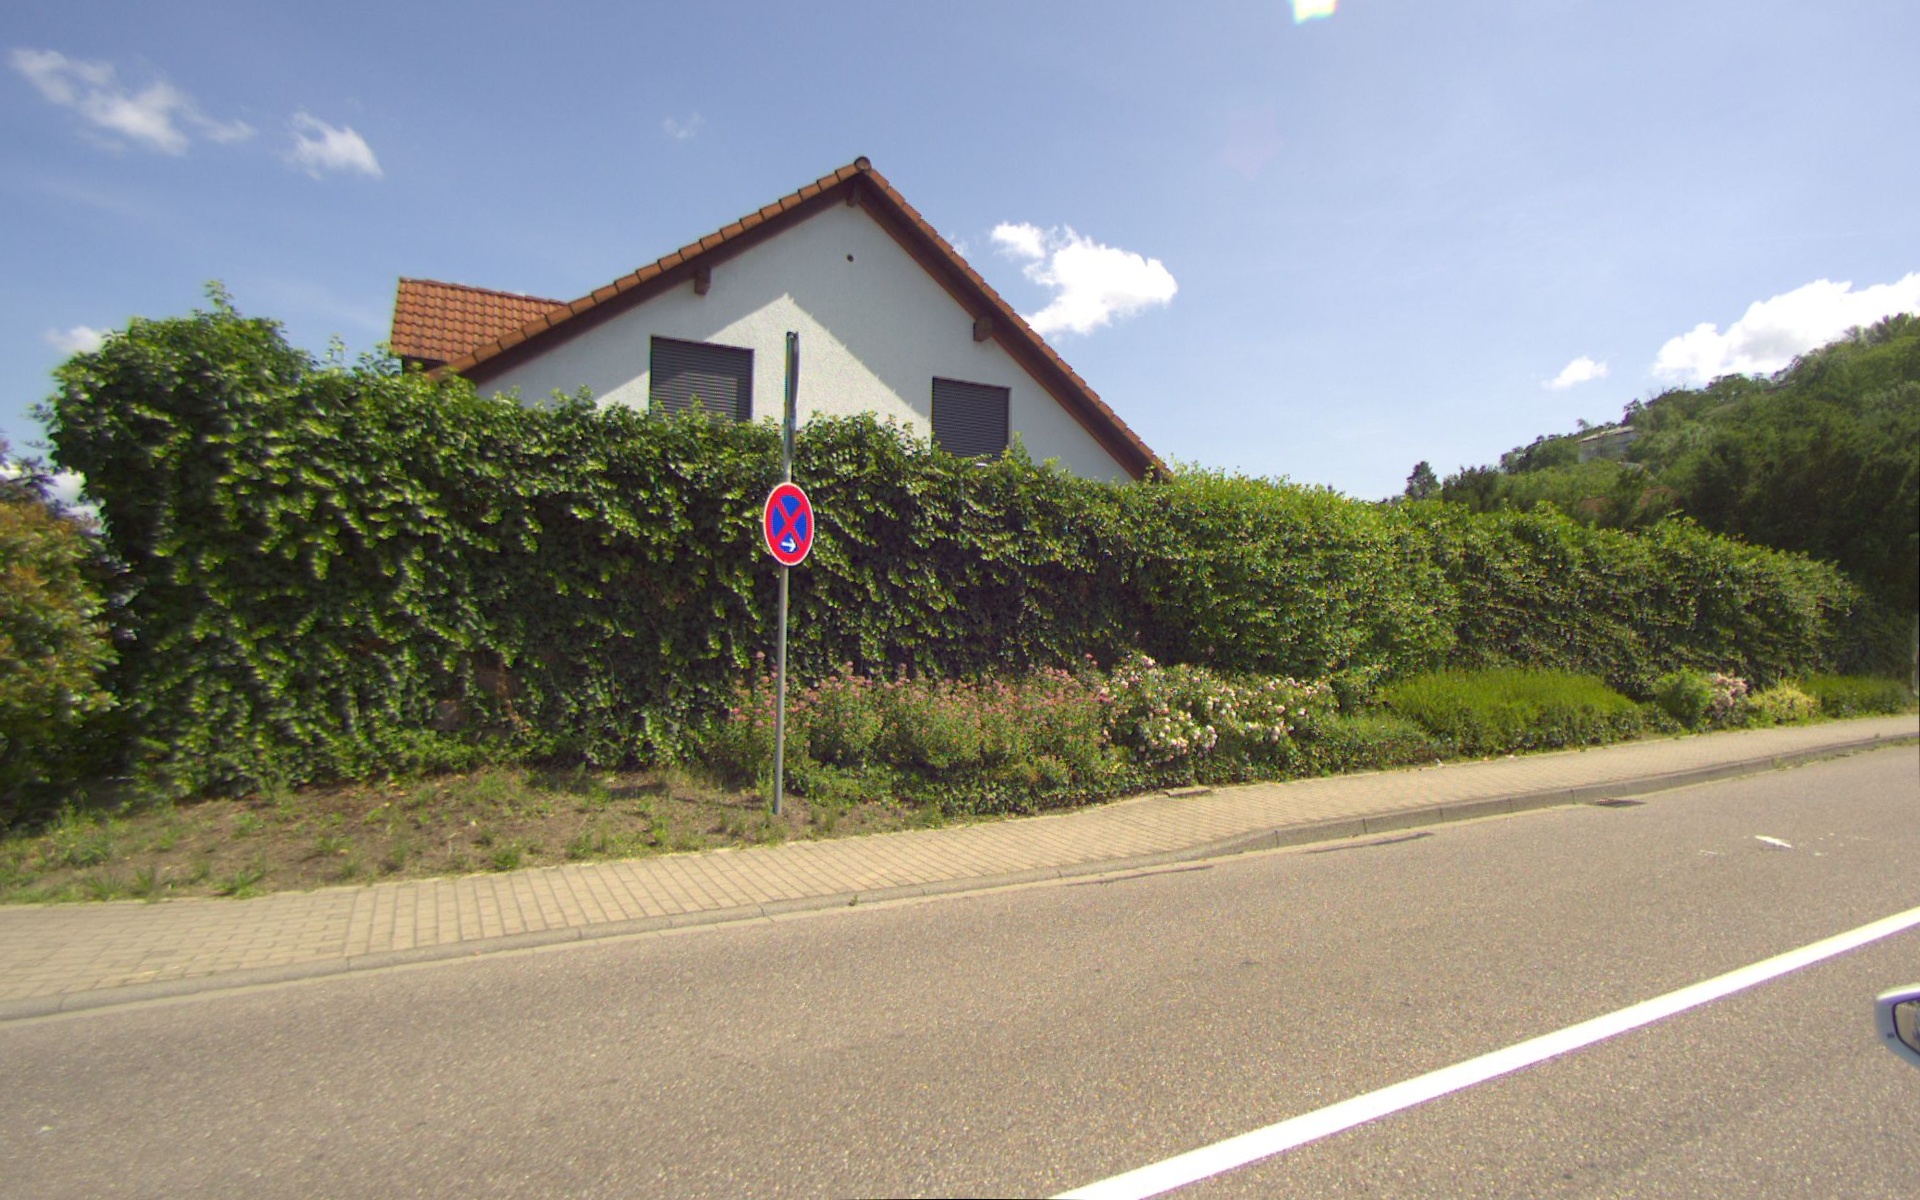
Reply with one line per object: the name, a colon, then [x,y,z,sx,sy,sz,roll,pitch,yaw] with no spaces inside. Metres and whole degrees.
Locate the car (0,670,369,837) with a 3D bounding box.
car: [-7.662,1.305,8.980,3.949,1.302,1.655,1,-4,-27]
